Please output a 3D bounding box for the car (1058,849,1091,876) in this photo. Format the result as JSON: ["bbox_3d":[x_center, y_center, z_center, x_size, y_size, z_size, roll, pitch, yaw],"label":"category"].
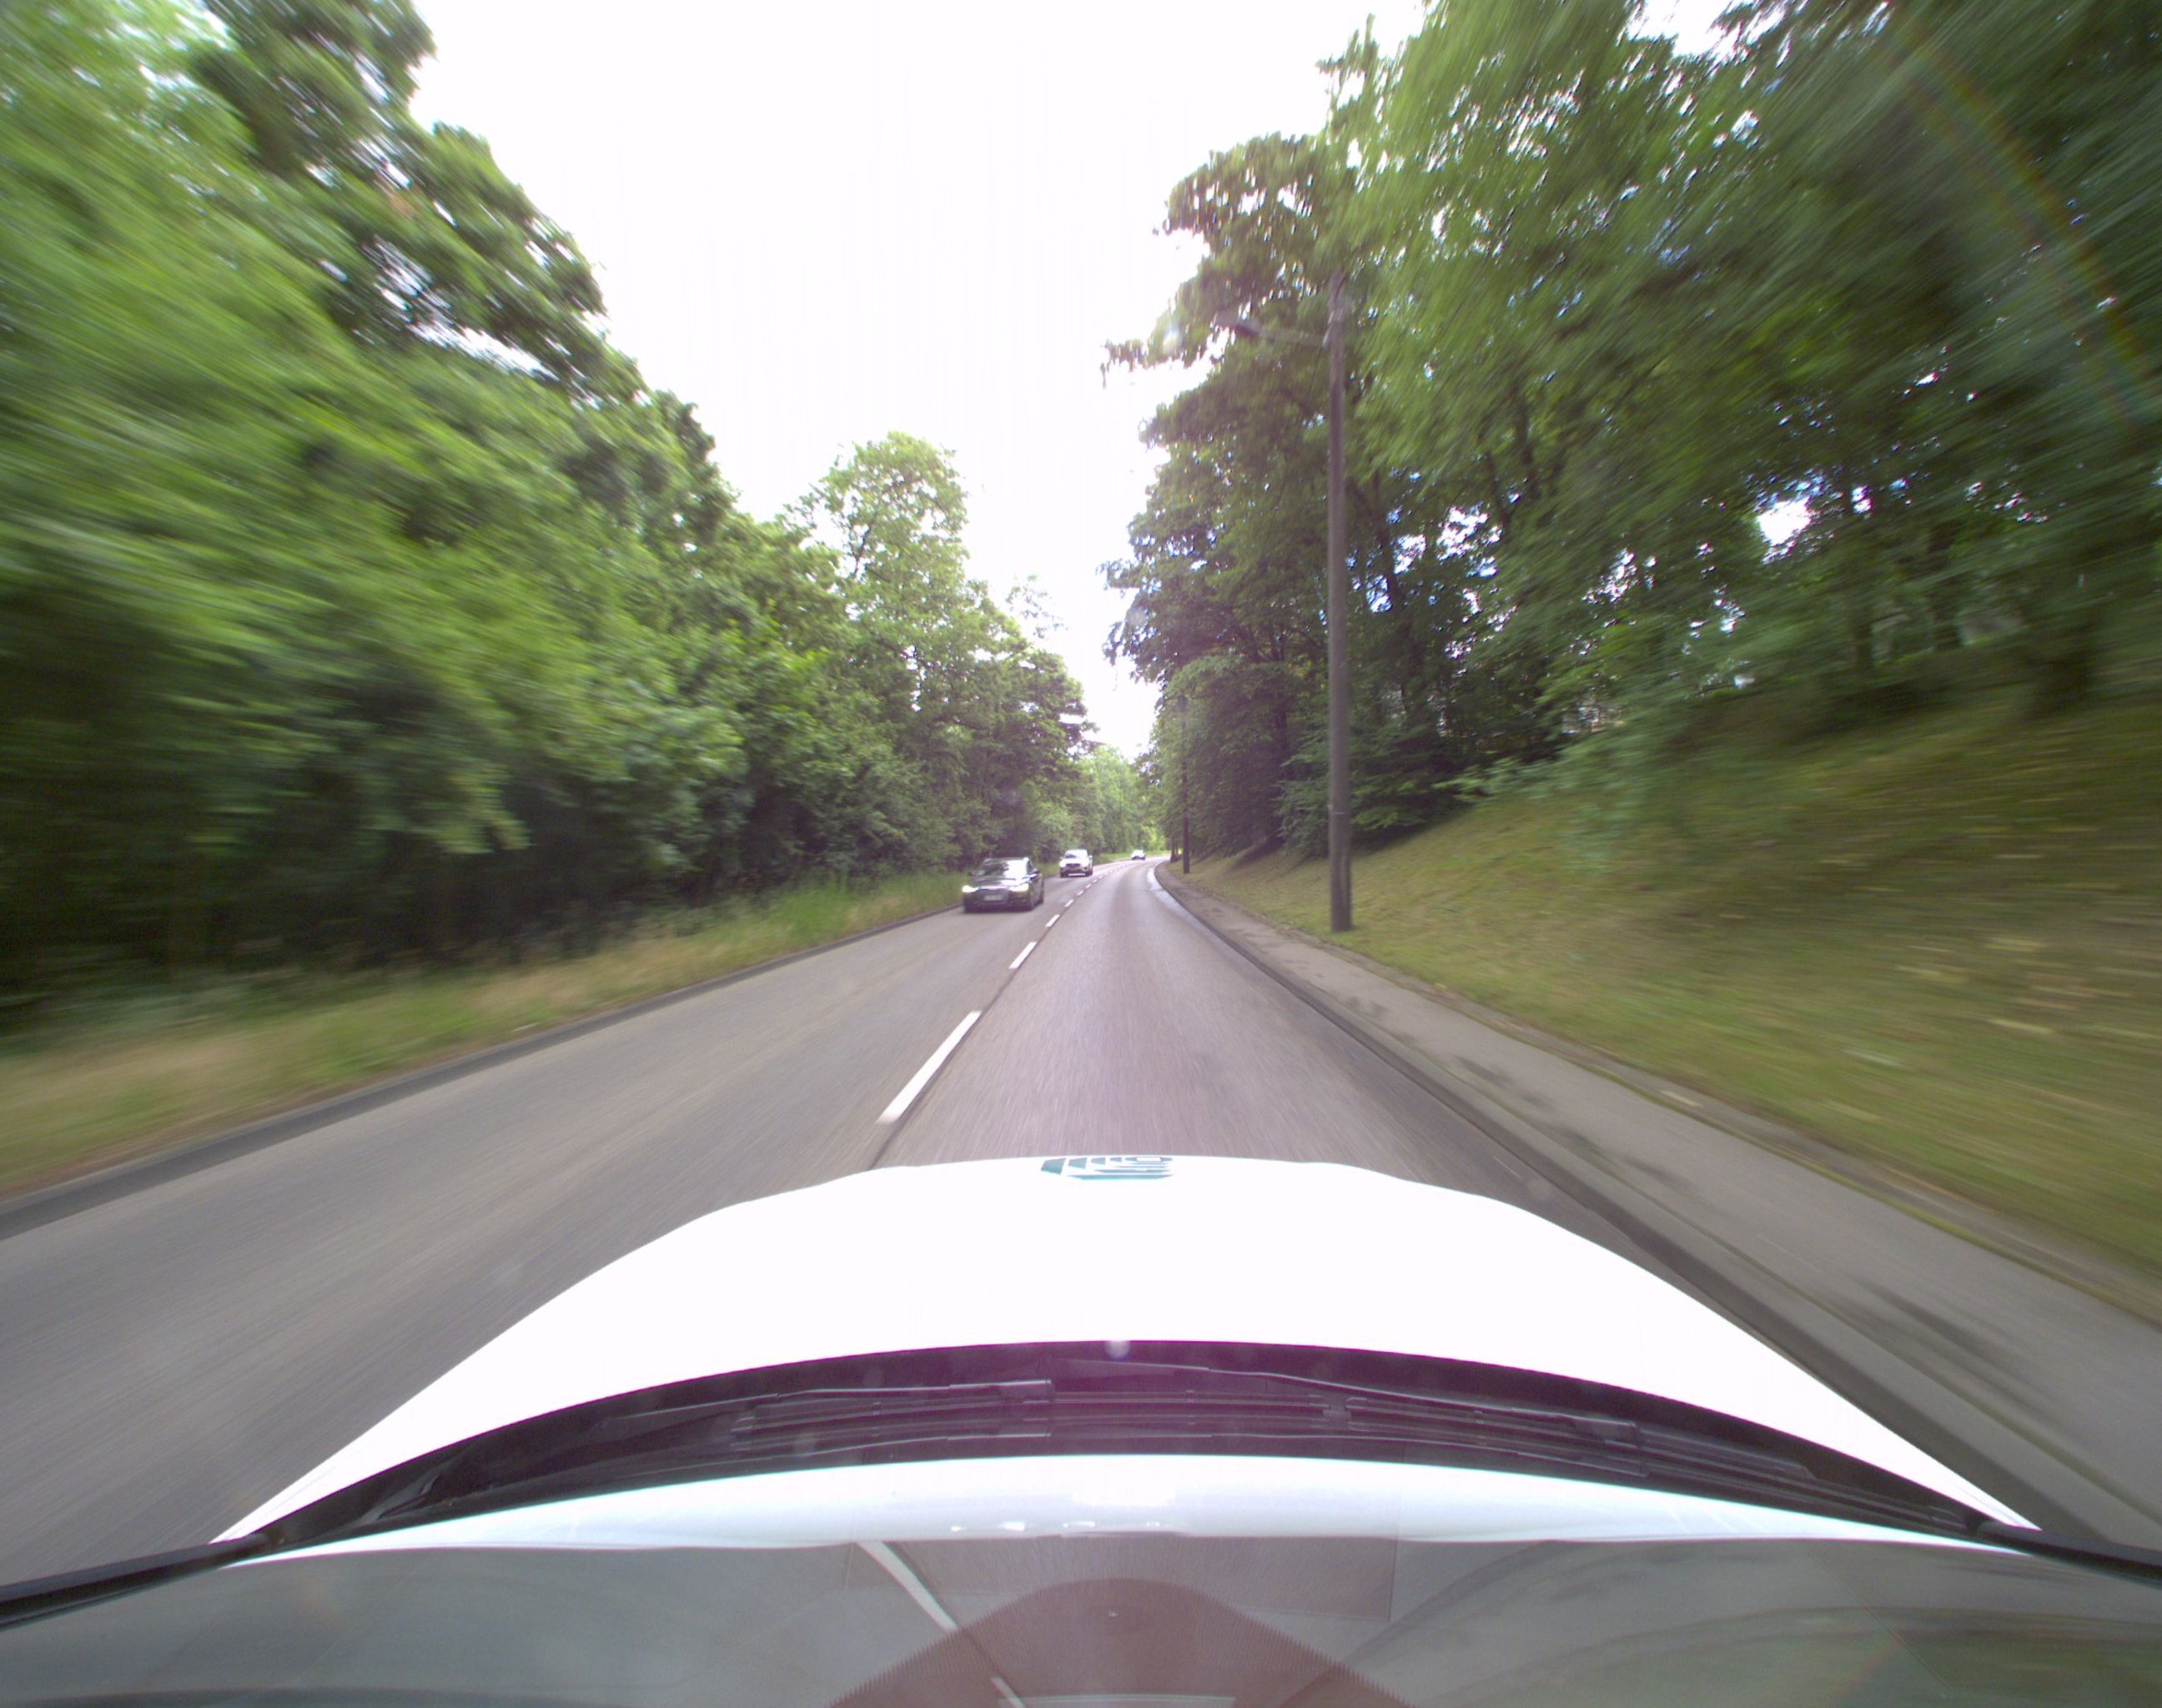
[{"bbox_3d":[-0.385,0.498,52.122,1.935,1.581,4.441,-1,0,1],"label":"car"}]

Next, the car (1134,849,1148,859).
[{"bbox_3d":[9.123,-0.036,124.201,1.986,1.542,4.001,-1,0,1],"label":"car"}]

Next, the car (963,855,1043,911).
[{"bbox_3d":[-2.122,0.757,23.234,1.803,1.420,4.001,-1,0,1],"label":"car"}]
